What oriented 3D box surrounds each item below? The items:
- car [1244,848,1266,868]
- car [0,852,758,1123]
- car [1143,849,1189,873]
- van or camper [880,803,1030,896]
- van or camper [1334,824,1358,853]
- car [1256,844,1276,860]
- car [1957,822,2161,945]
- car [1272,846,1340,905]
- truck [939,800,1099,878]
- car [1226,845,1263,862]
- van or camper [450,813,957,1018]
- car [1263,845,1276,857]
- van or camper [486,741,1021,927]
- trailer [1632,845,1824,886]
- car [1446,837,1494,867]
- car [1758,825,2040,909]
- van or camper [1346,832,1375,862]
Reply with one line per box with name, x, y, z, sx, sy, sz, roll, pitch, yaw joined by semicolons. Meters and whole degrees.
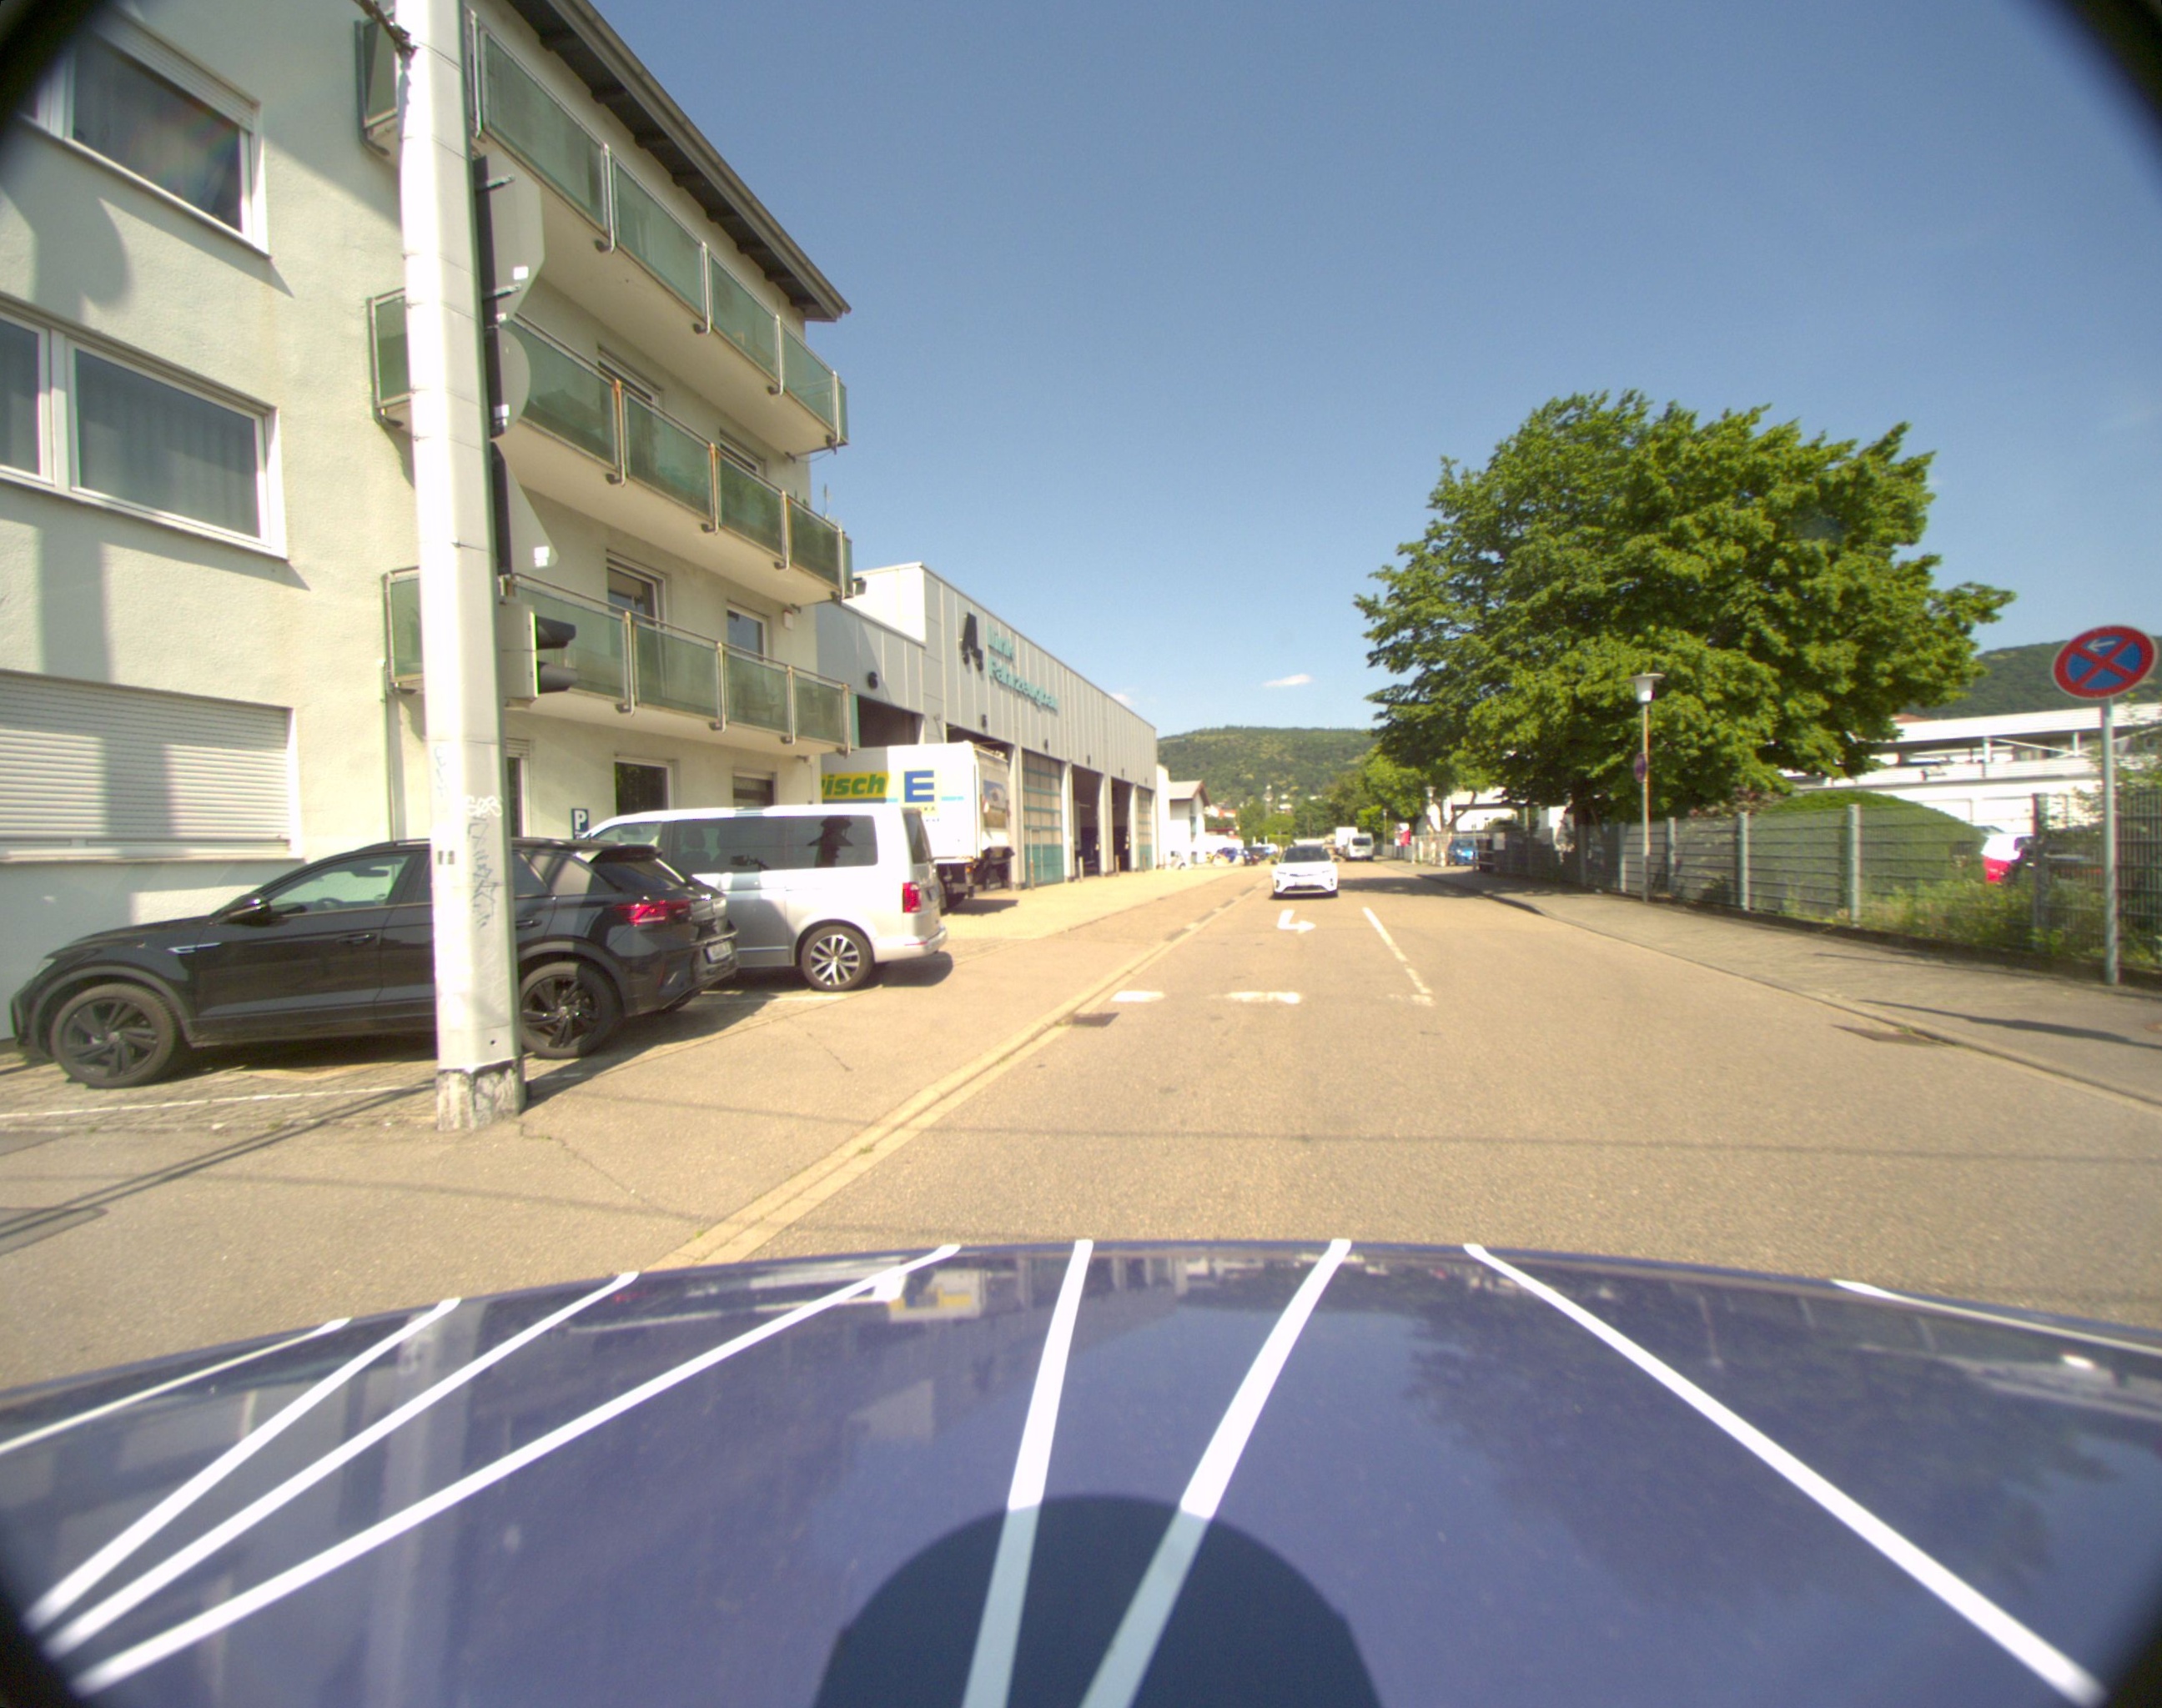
car;12.901;0.283;56.223;1.450;1.371;3.190;-2;1;14
car;-4.833;0.809;5.762;3.973;1.512;1.879;-2;1;-8
car;5.778;0.467;51.645;2.827;1.525;1.310;-2;-1;-29
van or camper;-4.715;-0.144;28.590;5.049;3.187;2.002;-2;1;15
van or camper;32.369;-1.859;92.975;2.522;3.351;5.597;-1;1;17
car;18.539;-0.244;76.280;1.451;1.487;3.188;-4;1;6
car;14.921;0.339;10.156;3.829;1.533;1.858;-1;1;14
car;6.702;0.574;22.506;1.734;1.521;4.114;-1;1;18
truck;-3.235;-0.723;39.750;7.844;3.760;2.628;-1;1;18
car;14.085;-0.048;65.405;2.971;1.332;1.455;-1;1;18
van or camper;-3.805;0.584;8.411;4.554;1.897;1.999;-1;0;-3
car;23.600;-0.429;95.111;1.450;1.371;3.190;-4;1;14
van or camper;-7.450;-0.345;17.731;11.621;3.672;2.782;-1;1;9
trailer;16.030;0.284;19.010;3.285;0.934;1.614;-1;1;19
car;21.187;-0.124;41.489;1.643;1.449;3.528;-4;1;16
car;15.560;0.250;14.666;3.382;1.476;1.519;-1;1;19
van or camper;23.376;-0.641;63.689;2.026;2.363;4.690;0;2;17
